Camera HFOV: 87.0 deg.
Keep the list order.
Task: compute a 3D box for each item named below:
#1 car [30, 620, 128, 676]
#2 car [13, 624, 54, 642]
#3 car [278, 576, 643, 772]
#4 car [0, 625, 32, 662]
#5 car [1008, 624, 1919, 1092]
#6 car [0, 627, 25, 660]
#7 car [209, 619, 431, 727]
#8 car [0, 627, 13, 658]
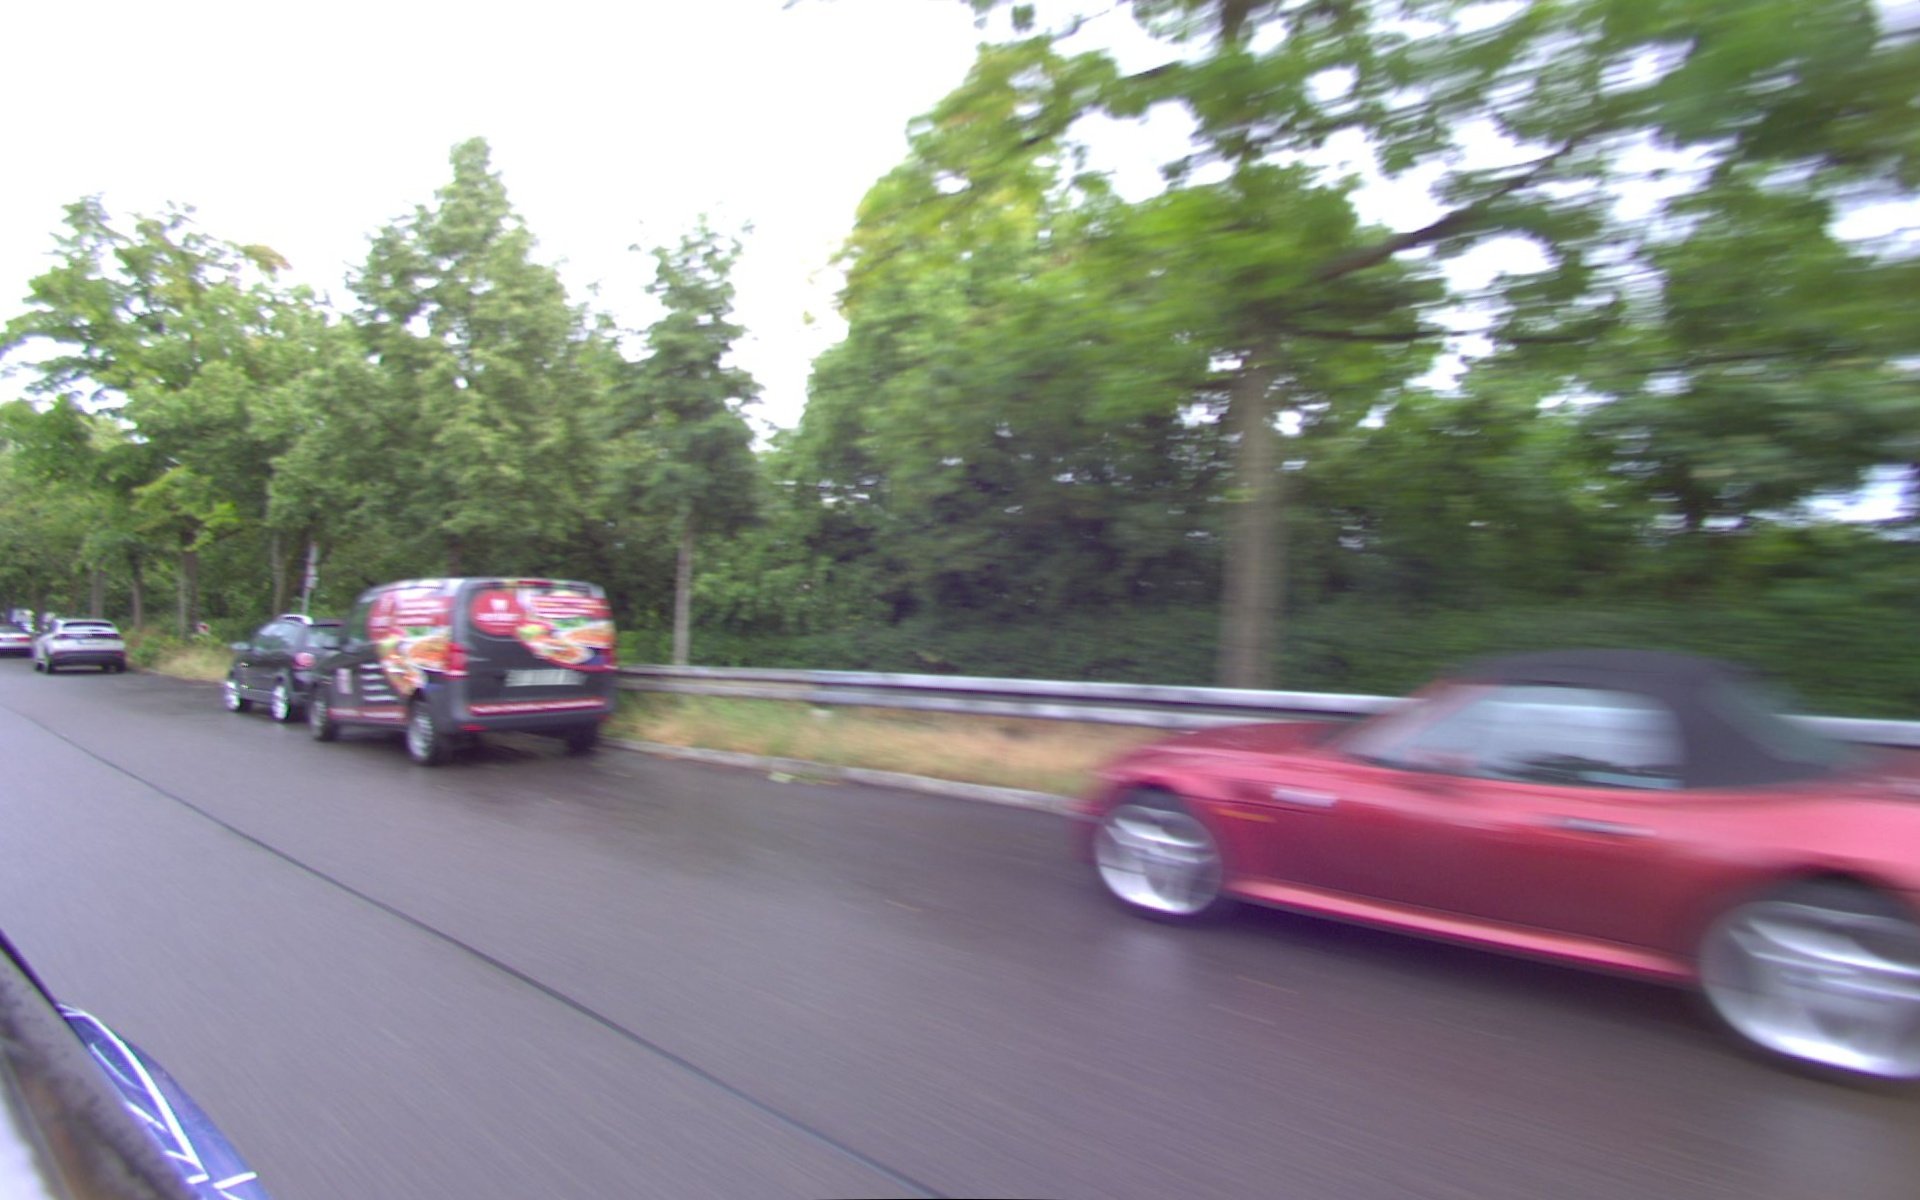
[{"bbox_3d":[-24.844,1.304,28.491,4.257,1.448,1.670,-1,-2,44],"label":"car"},{"bbox_3d":[-89.391,3.196,97.675,1.660,1.521,4.219,5,-3,-26],"label":"car"},{"bbox_3d":[-6.132,0.732,12.050,5.380,1.833,2.061,-1,-2,42],"label":"car"},{"bbox_3d":[-39.496,1.752,41.451,4.417,1.413,1.736,-1,-2,42],"label":"car"},{"bbox_3d":[2.406,0.775,4.461,4.327,1.307,1.769,-1,-2,45],"label":"car"},{"bbox_3d":[-42.883,1.918,44.863,3.997,1.372,1.579,-1,-2,39],"label":"car"},{"bbox_3d":[-10.153,1.042,15.923,4.253,1.448,1.779,-1,-2,41],"label":"car"},{"bbox_3d":[-46.919,1.994,48.472,4.715,1.416,1.971,-1,-3,44],"label":"car"}]
